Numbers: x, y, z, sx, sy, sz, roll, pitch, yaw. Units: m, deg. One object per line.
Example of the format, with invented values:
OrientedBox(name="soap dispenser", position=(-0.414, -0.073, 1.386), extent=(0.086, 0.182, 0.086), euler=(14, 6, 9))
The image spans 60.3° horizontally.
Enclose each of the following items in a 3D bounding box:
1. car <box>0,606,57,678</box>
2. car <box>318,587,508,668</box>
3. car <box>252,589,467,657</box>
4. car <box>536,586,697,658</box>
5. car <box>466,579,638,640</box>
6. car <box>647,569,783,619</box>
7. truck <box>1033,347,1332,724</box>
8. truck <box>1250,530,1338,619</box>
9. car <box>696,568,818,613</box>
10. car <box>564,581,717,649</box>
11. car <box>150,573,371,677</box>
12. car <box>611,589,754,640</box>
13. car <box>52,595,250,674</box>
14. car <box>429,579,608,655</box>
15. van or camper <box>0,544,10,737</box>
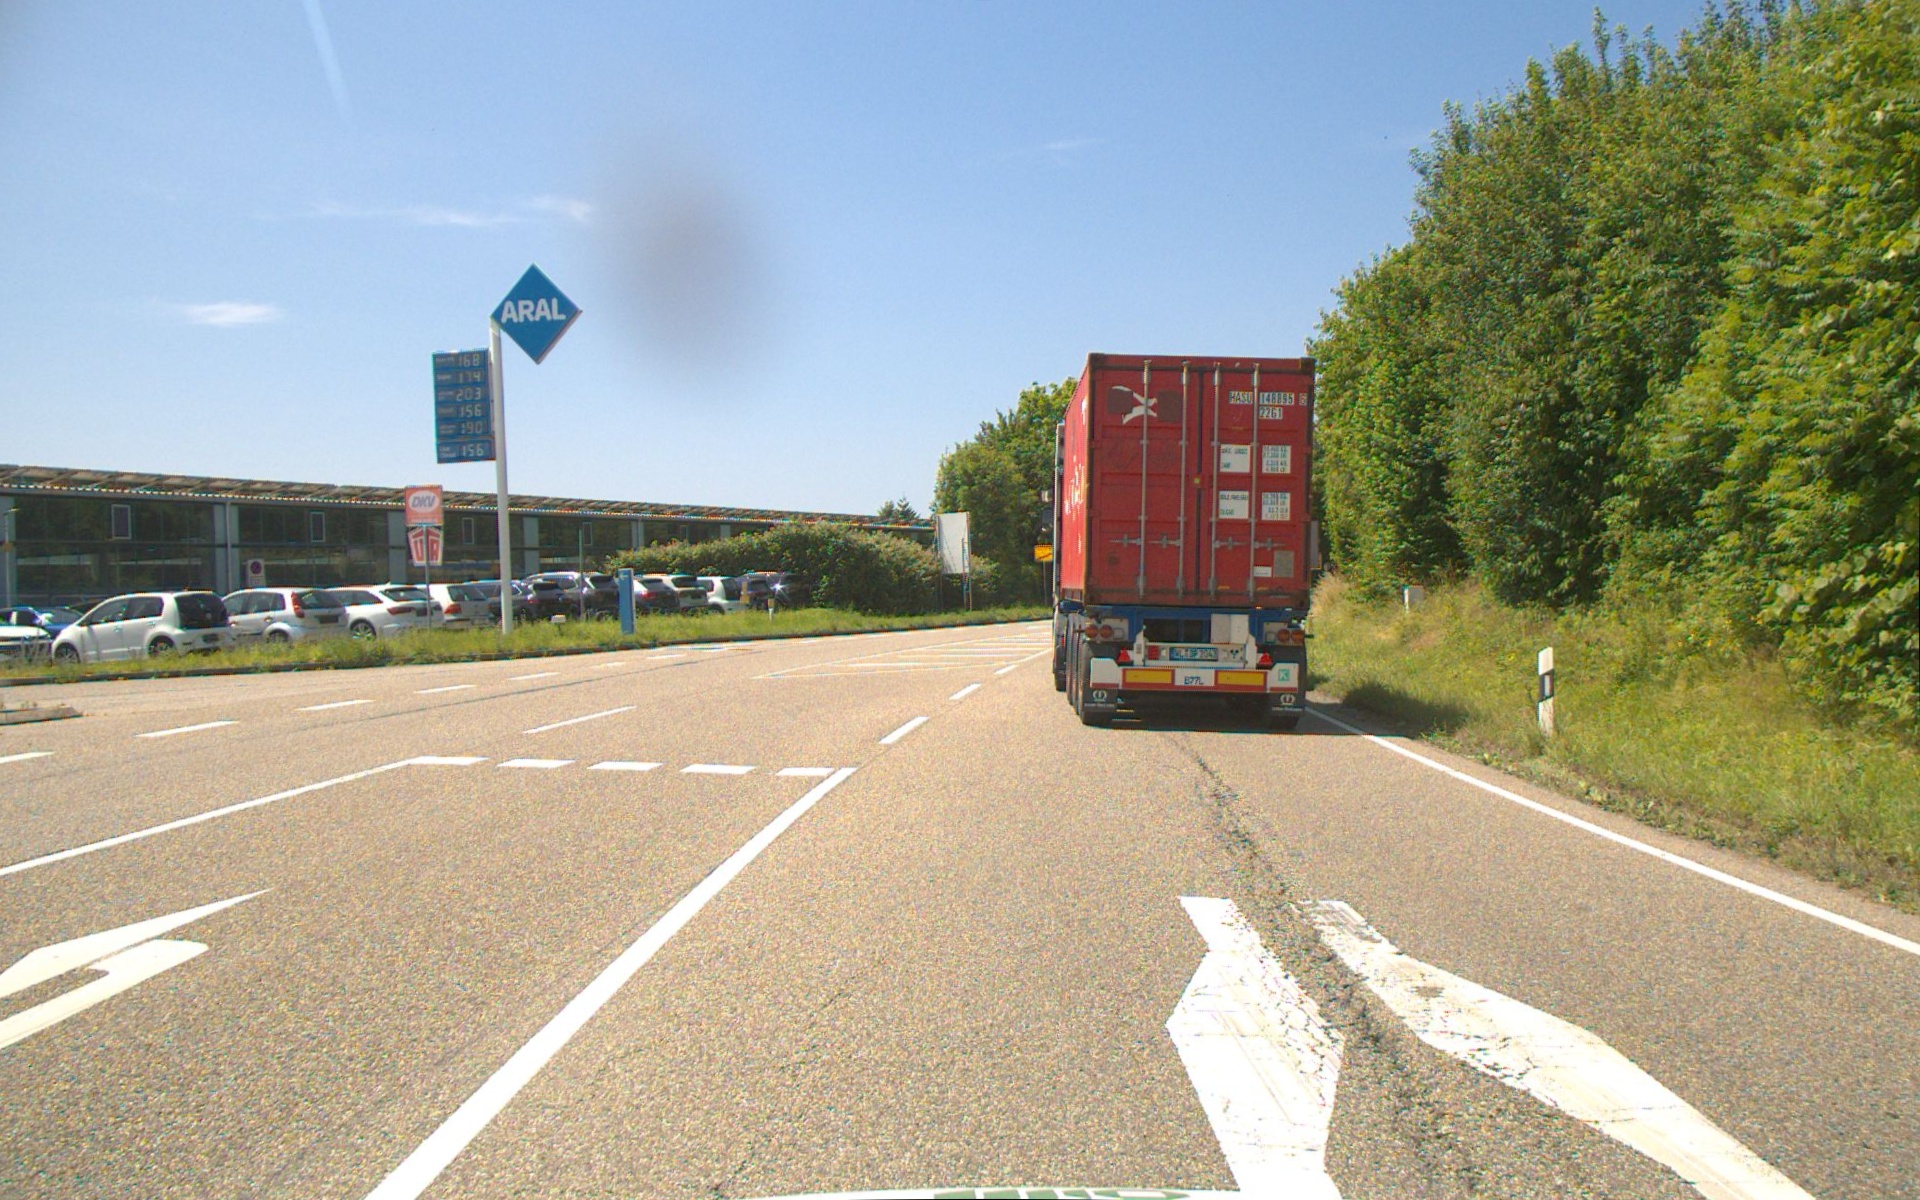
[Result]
OrientedBox(name="car", position=(-22.985, 0.989, 37.981), extent=(3.904, 1.610, 1.818), euler=(-2, -1, 21))
OrientedBox(name="car", position=(-12.904, 0.643, 39.064), extent=(3.905, 1.780, 1.935), euler=(-1, 0, 22))
OrientedBox(name="car", position=(-13.342, 0.499, 36.786), extent=(4.148, 1.383, 2.001), euler=(-1, 0, 20))
OrientedBox(name="car", position=(-9.590, 0.616, 46.232), extent=(3.905, 1.780, 2.000), euler=(-3, 0, 21))
OrientedBox(name="car", position=(-10.687, 0.241, 43.362), extent=(3.905, 1.355, 2.000), euler=(-3, 0, 21))
OrientedBox(name="car", position=(-7.886, -0.183, 53.300), extent=(3.903, 1.386, 1.821), euler=(-3, 0, 19))
OrientedBox(name="truck", position=(2.601, -0.717, 23.866), extent=(2.593, 3.873, 13.360), euler=(1, 0, 1))
OrientedBox(name="truck", position=(15.974, -1.187, 78.328), extent=(2.860, 3.781, 13.368), euler=(-1, 0, 16))
OrientedBox(name="car", position=(-6.807, -0.330, 55.468), extent=(3.621, 1.397, 1.803), euler=(1, 1, 22))
OrientedBox(name="car", position=(-9.420, 0.429, 48.838), extent=(3.905, 1.780, 2.000), euler=(-3, 0, 21))
OrientedBox(name="car", position=(-14.623, 0.511, 34.632), extent=(3.904, 2.049, 2.001), euler=(-1, 0, 20))
OrientedBox(name="car", position=(-8.596, 0.450, 51.259), extent=(3.904, 1.340, 1.834), euler=(-3, 0, 19))
OrientedBox(name="car", position=(-15.966, 0.677, 32.650), extent=(3.371, 1.466, 1.564), euler=(-1, 0, 19))
OrientedBox(name="car", position=(-11.041, 0.439, 41.421), extent=(3.905, 1.780, 2.000), euler=(-1, -1, 22))
OrientedBox(name="van or camper", position=(-11.942, 0.537, 15.555), extent=(4.753, 1.938, 1.902), euler=(-3, 0, -5))
